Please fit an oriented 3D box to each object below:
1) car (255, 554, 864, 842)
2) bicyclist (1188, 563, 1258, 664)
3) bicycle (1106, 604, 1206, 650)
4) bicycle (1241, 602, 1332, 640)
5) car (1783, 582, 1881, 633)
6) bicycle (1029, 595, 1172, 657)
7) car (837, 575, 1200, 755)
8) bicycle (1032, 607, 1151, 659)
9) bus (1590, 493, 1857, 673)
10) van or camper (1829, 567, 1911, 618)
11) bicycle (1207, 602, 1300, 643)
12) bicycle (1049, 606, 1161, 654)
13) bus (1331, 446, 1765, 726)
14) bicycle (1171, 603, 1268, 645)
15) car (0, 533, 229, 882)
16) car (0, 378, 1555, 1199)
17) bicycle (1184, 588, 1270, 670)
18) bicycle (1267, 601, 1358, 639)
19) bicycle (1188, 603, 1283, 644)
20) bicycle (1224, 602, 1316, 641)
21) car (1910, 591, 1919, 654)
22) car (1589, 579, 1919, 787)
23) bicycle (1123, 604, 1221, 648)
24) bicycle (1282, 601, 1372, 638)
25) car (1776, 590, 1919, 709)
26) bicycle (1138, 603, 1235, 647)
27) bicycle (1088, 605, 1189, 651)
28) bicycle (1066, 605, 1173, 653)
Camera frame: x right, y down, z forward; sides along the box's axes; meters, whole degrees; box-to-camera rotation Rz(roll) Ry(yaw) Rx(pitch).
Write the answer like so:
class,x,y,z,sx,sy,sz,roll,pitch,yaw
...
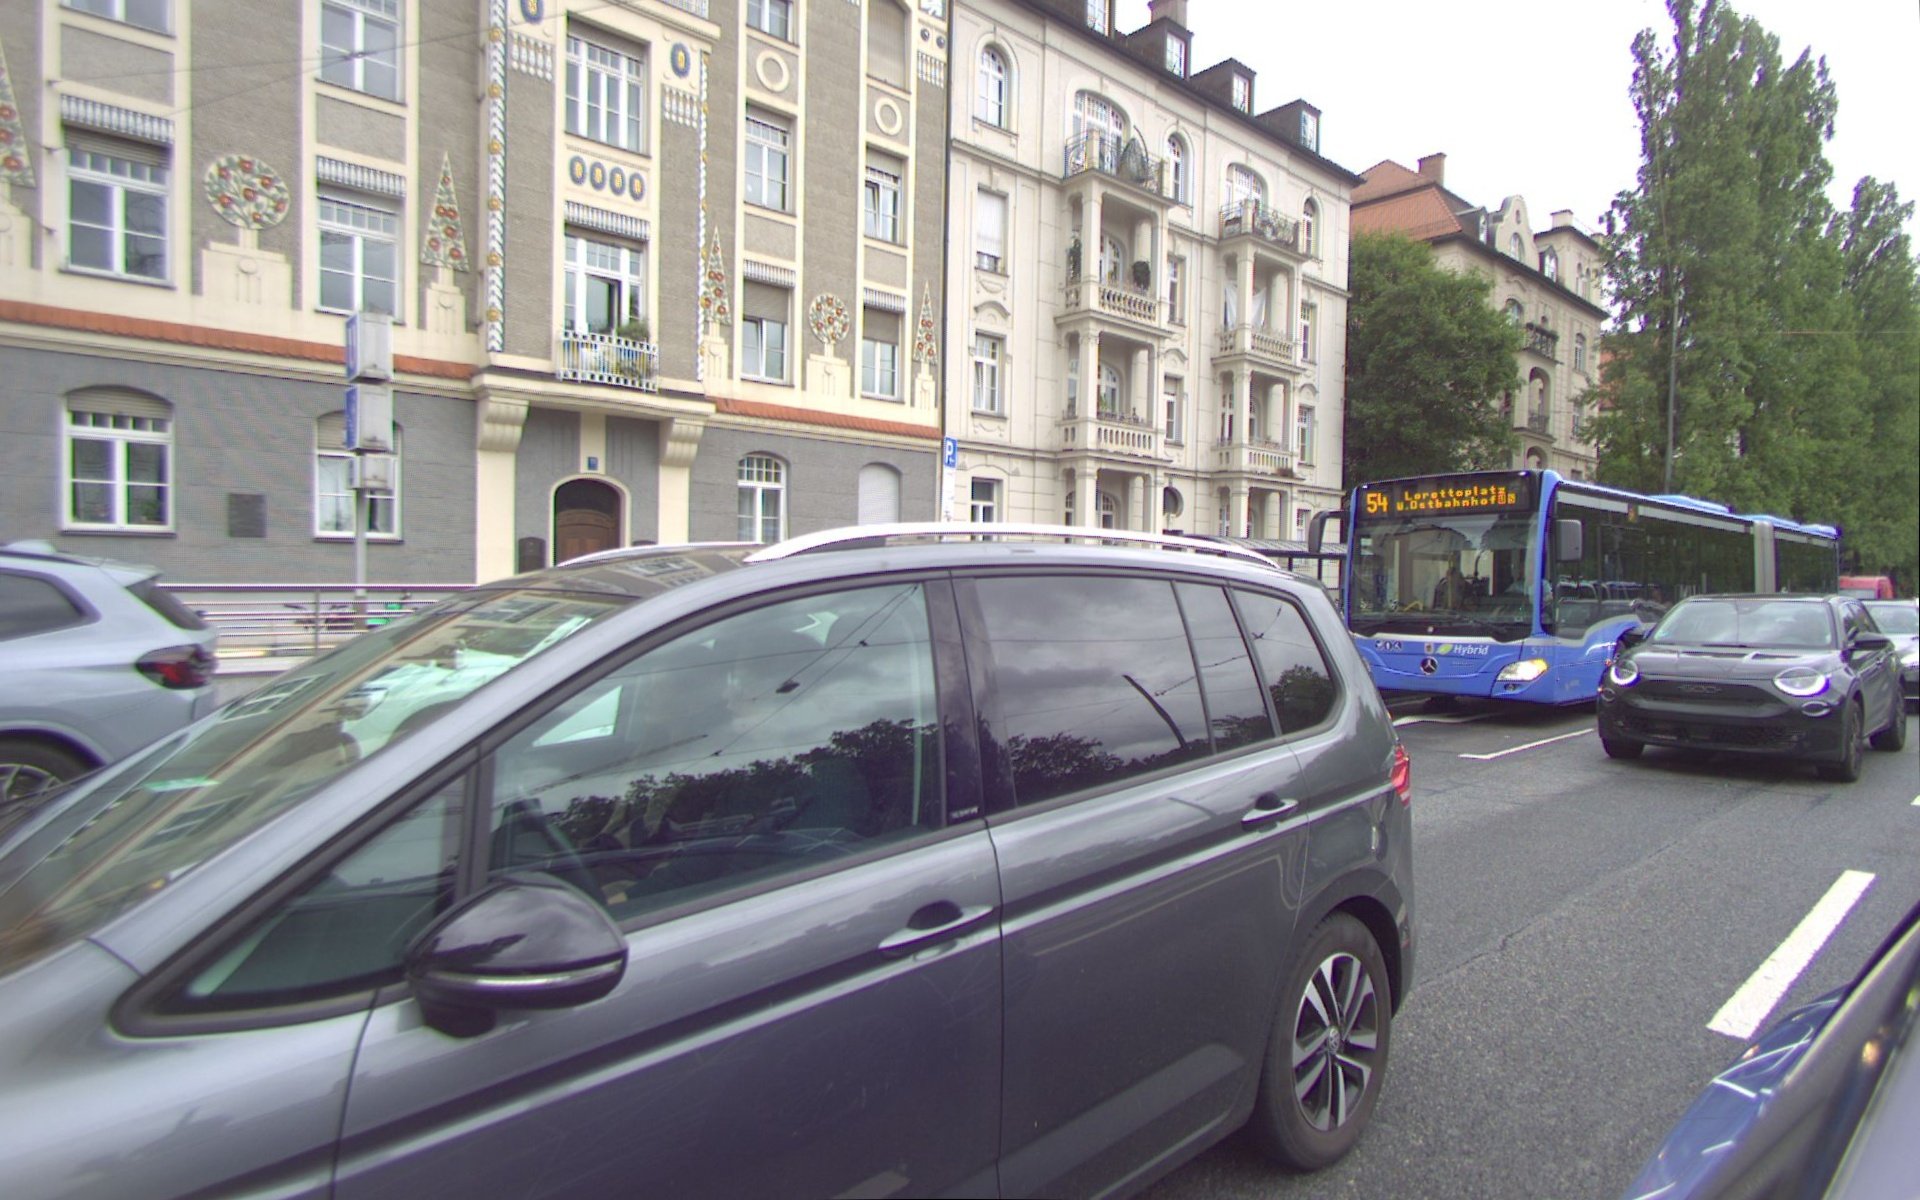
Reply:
class,x,y,z,sx,sy,sz,roll,pitch,yaw
car,-2.829,0.507,7.560,3.895,1.596,1.731,0,3,-39
bicyclist,4.383,0.202,16.867,0.923,1.623,0.681,0,2,-40
bicycle,4.418,0.591,22.974,0.629,0.932,2.319,-1,1,-43
bicycle,8.618,0.536,26.798,0.590,0.932,2.319,-1,1,-43
car,25.971,0.191,30.116,3.569,1.385,1.703,-1,3,-41
bicycle,2.836,0.505,20.653,2.899,1.162,0.633,1,1,33
car,0.720,0.535,10.723,3.678,1.527,1.729,-1,3,-42
bicycle,2.580,0.626,20.018,2.307,0.932,0.580,1,1,33
bus,15.848,-0.314,20.700,8.383,3.011,2.635,0,0,-41
van or camper,40.951,-0.373,45.517,5.419,2.124,2.122,0,2,-42
bicycle,7.455,0.550,25.798,0.590,0.932,2.319,-1,1,-43
bicycle,3.037,0.612,21.312,2.307,0.932,0.580,1,1,33
bus,9.110,-0.188,14.944,9.299,3.011,2.635,0,0,-41
bicycle,6.265,0.567,24.580,0.629,0.932,2.319,-1,1,-43
car,-6.182,0.495,4.670,4.425,1.681,1.736,-1,3,-42
car,-0.477,0.584,2.420,4.624,1.667,1.776,0,3,-40
bicycle,4.491,0.458,16.951,1.747,1.304,0.424,-1,2,-40
bicycle,9.507,0.528,27.355,0.590,0.932,2.319,-1,1,-43
bicycle,6.836,0.559,25.234,0.629,0.932,2.319,-1,1,-43
bicycle,8.047,0.542,26.370,0.590,0.932,2.319,-1,1,-43
car,23.017,0.549,22.992,3.569,1.385,1.703,0,3,-41
car,7.507,0.601,9.372,3.901,1.523,1.778,0,0,-41
bicycle,4.918,0.582,23.675,0.629,0.932,2.319,-1,1,-43
bicycle,10.057,0.521,27.802,0.590,0.932,2.319,-1,1,-43
car,12.985,0.595,14.180,4.171,1.451,1.702,0,0,-41
bicycle,5.386,0.575,24.218,0.629,0.932,2.319,-1,1,-43
bicycle,3.935,0.598,22.467,0.629,0.932,2.319,-1,1,-43
bicycle,3.432,0.605,21.976,2.312,0.932,0.579,1,1,38
